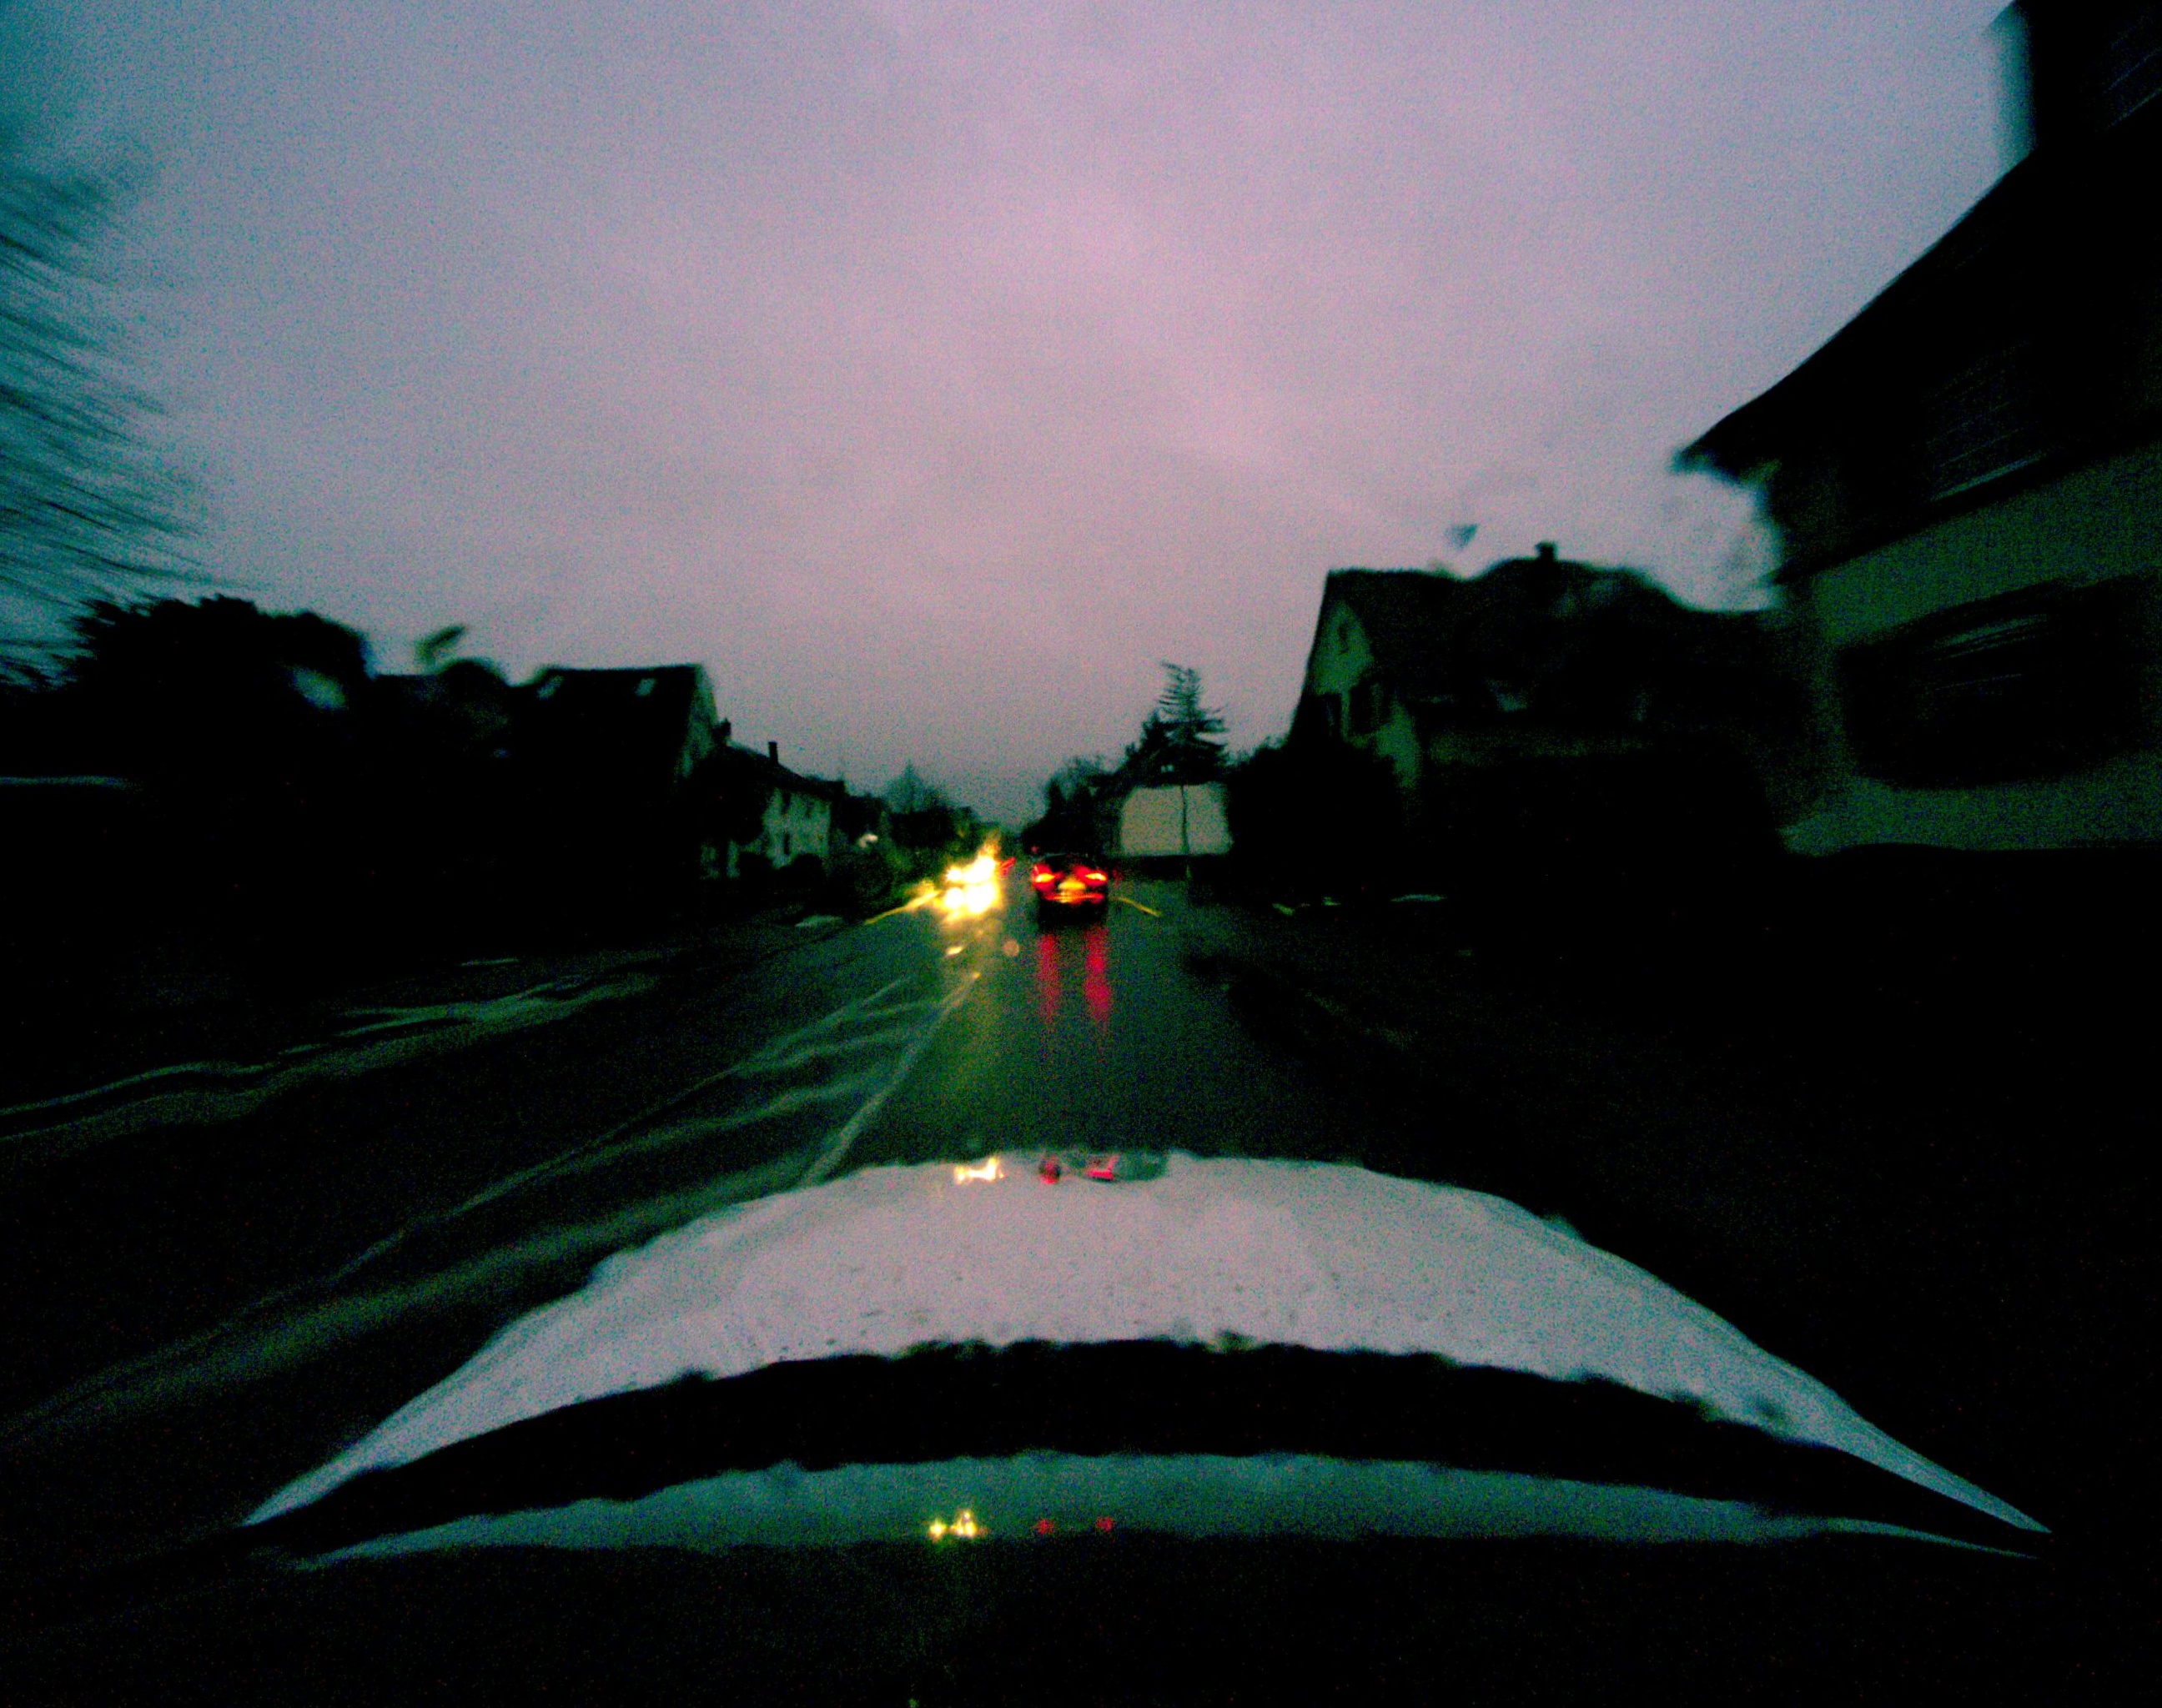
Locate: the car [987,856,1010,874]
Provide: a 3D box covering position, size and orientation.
[{"bbox_3d":[-9.710,1.298,95.474,2.309,1.938,5.002,-2,-1,-9],"label":"car"}]

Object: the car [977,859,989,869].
[{"bbox_3d":[-16.309,1.672,135.584,1.910,1.522,3.993,-2,1,-5],"label":"car"}]

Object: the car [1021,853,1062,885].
[{"bbox_3d":[-2.229,0.807,45.055,1.856,1.647,3.989,-1,0,-8],"label":"car"}]

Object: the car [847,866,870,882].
[{"bbox_3d":[-19.773,1.776,72.285,1.782,1.393,3.975,0,-1,-18],"label":"car"}]

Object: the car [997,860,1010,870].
[{"bbox_3d":[-12.071,1.716,126.045,1.840,1.331,3.928,-3,0,-7],"label":"car"}]

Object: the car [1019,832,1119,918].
[{"bbox_3d":[-0.401,0.539,21.942,2.304,1.938,5.012,-2,-1,-3],"label":"car"}]

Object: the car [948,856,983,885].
[{"bbox_3d":[-6.927,0.969,49.282,1.821,1.554,3.992,-4,0,-6],"label":"car"}]
